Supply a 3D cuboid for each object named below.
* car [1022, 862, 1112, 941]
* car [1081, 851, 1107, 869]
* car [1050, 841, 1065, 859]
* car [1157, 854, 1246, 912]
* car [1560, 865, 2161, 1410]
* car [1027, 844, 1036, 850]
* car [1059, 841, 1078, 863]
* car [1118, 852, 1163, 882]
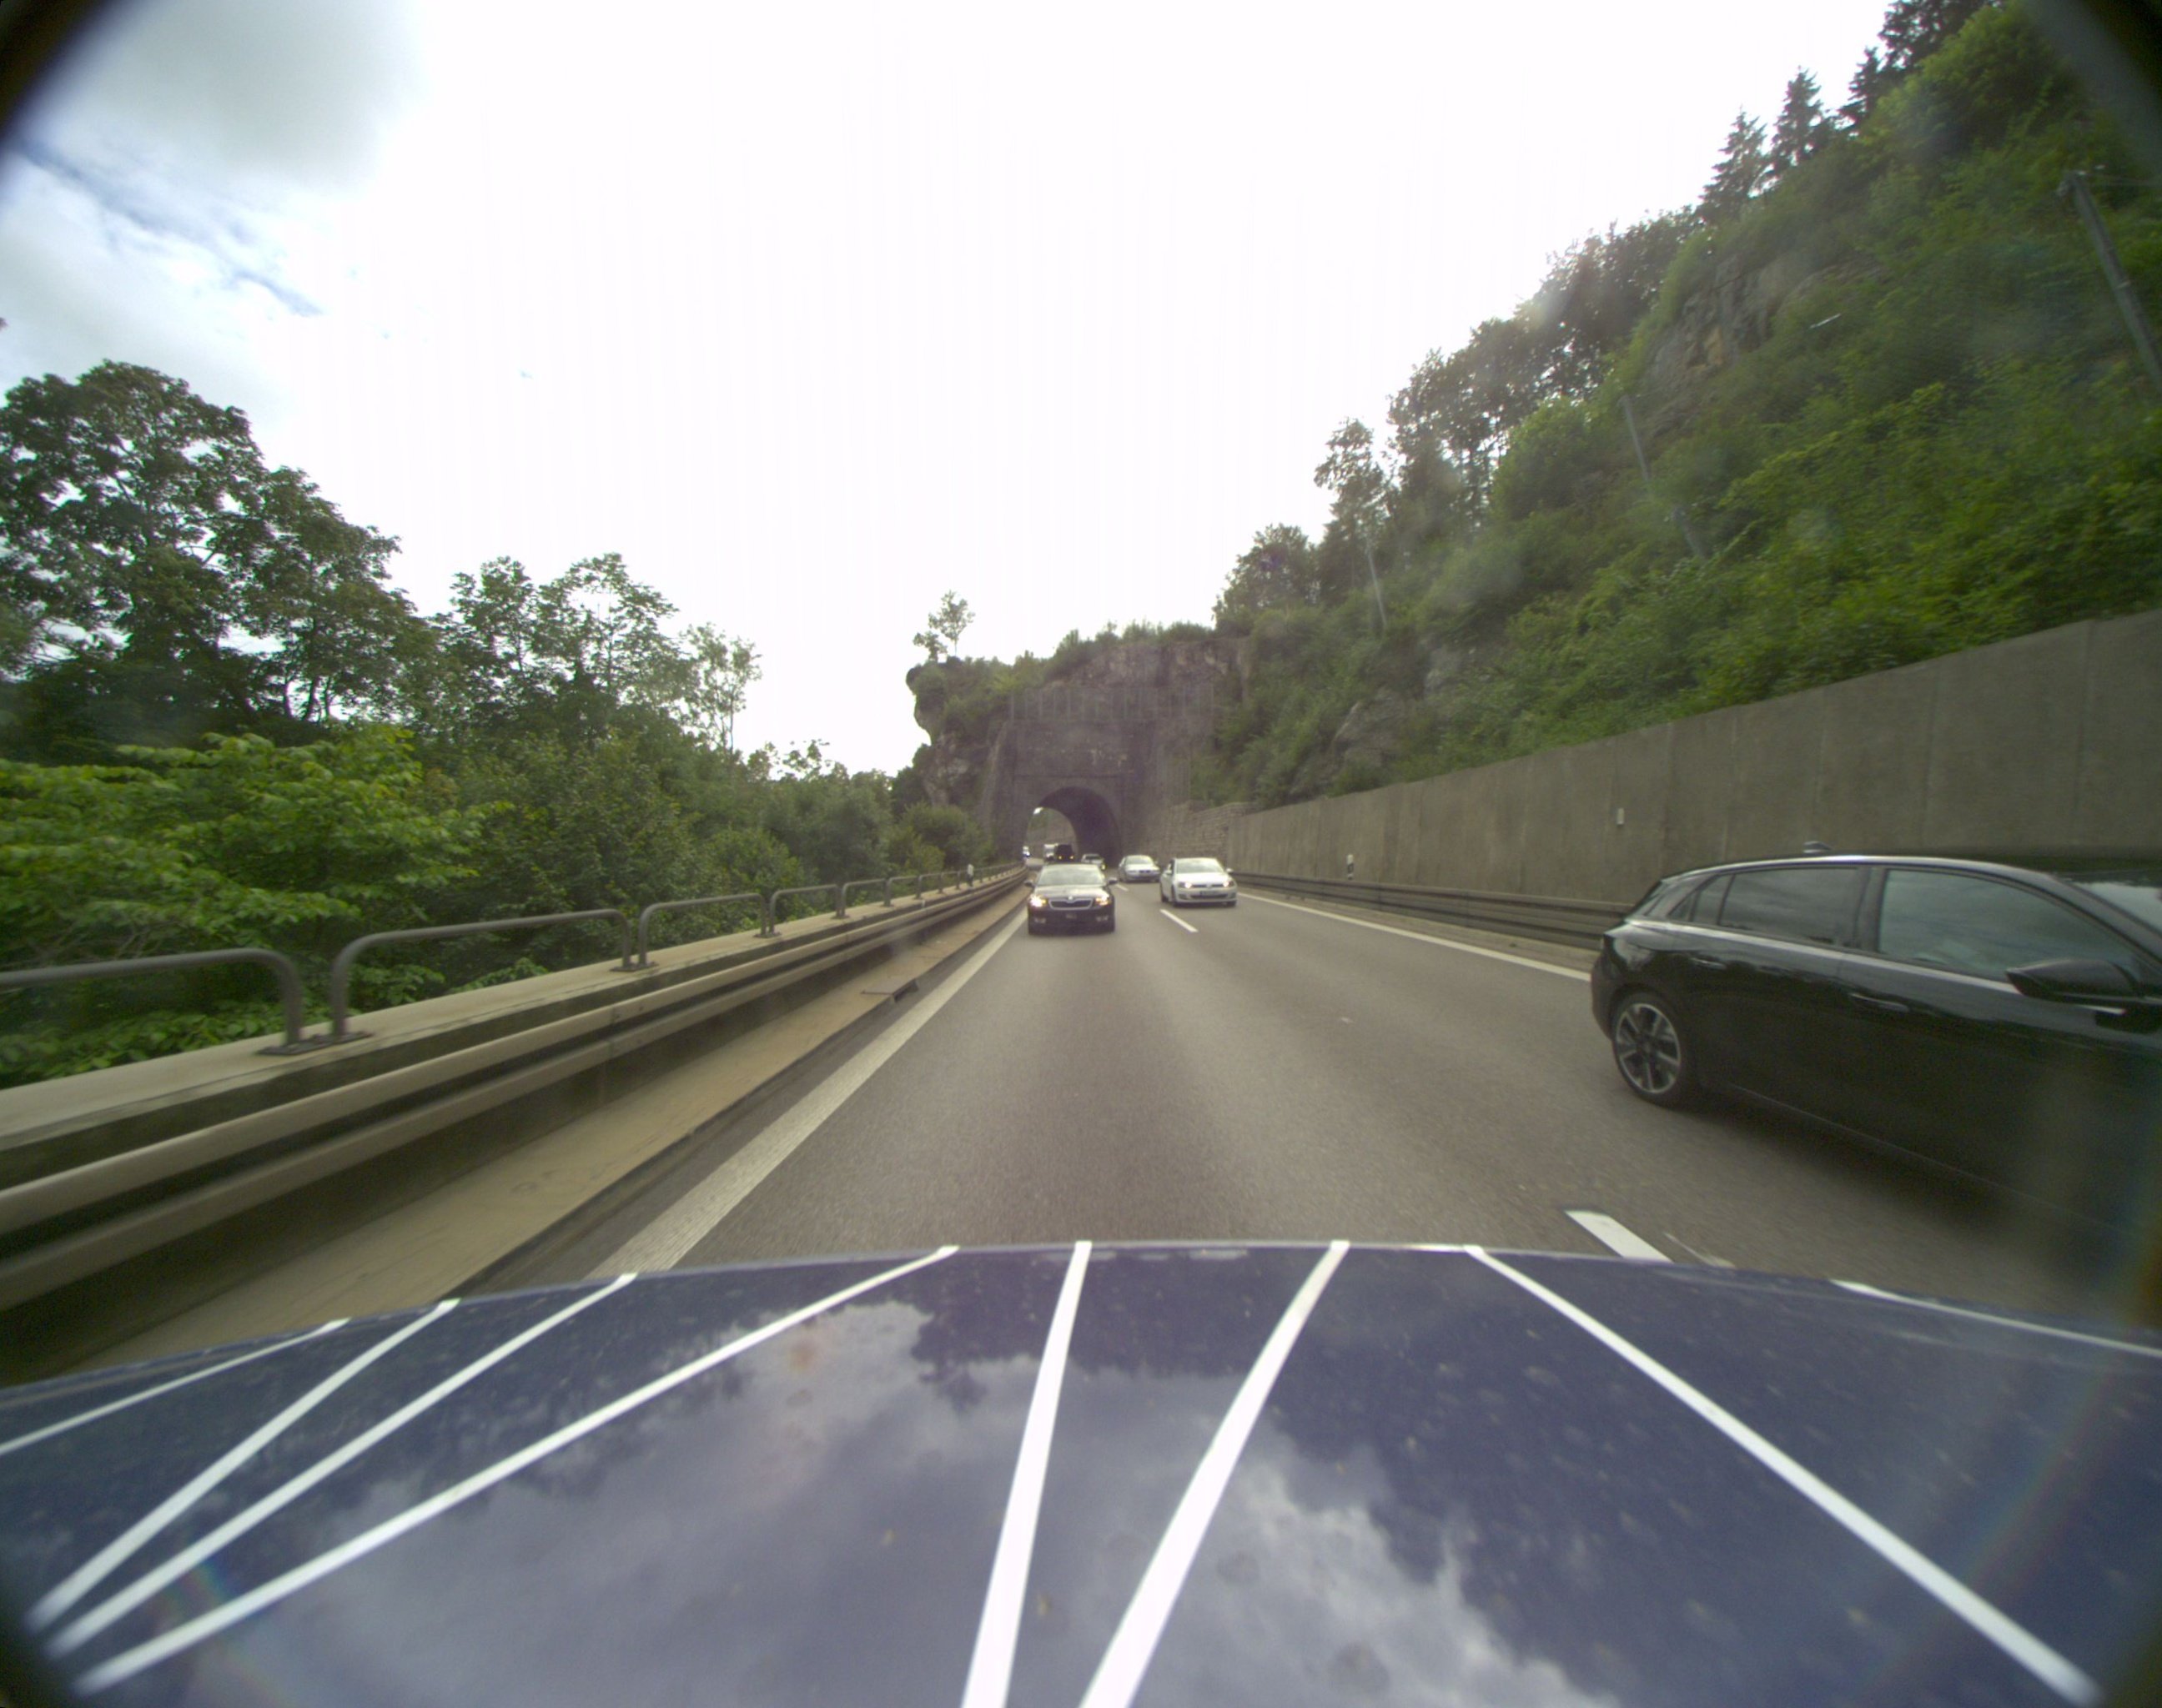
[{"bbox_3d":[-0.234,0.938,16.906,1.677,1.418,4.473,-3,0,1],"label":"car"},{"bbox_3d":[1.117,0.561,67.716,1.923,1.452,4.229,-3,0,-3],"label":"car"},{"bbox_3d":[-3.563,-0.631,112.854,1.869,2.444,4.980,-3,2,-5],"label":"car"},{"bbox_3d":[3.498,0.790,22.872,1.850,1.473,4.627,-2,1,-1],"label":"car"},{"bbox_3d":[4.001,0.847,2.681,1.777,1.452,4.581,-2,0,1],"label":"car"},{"bbox_3d":[-11.440,-1.560,174.034,1.652,1.310,4.065,-2,1,-9],"label":"car"},{"bbox_3d":[-1.550,-0.247,91.659,1.869,2.444,4.980,-3,2,-4],"label":"car"},{"bbox_3d":[3.166,0.674,41.407,1.833,1.448,5.134,-3,0,-2],"label":"car"}]
